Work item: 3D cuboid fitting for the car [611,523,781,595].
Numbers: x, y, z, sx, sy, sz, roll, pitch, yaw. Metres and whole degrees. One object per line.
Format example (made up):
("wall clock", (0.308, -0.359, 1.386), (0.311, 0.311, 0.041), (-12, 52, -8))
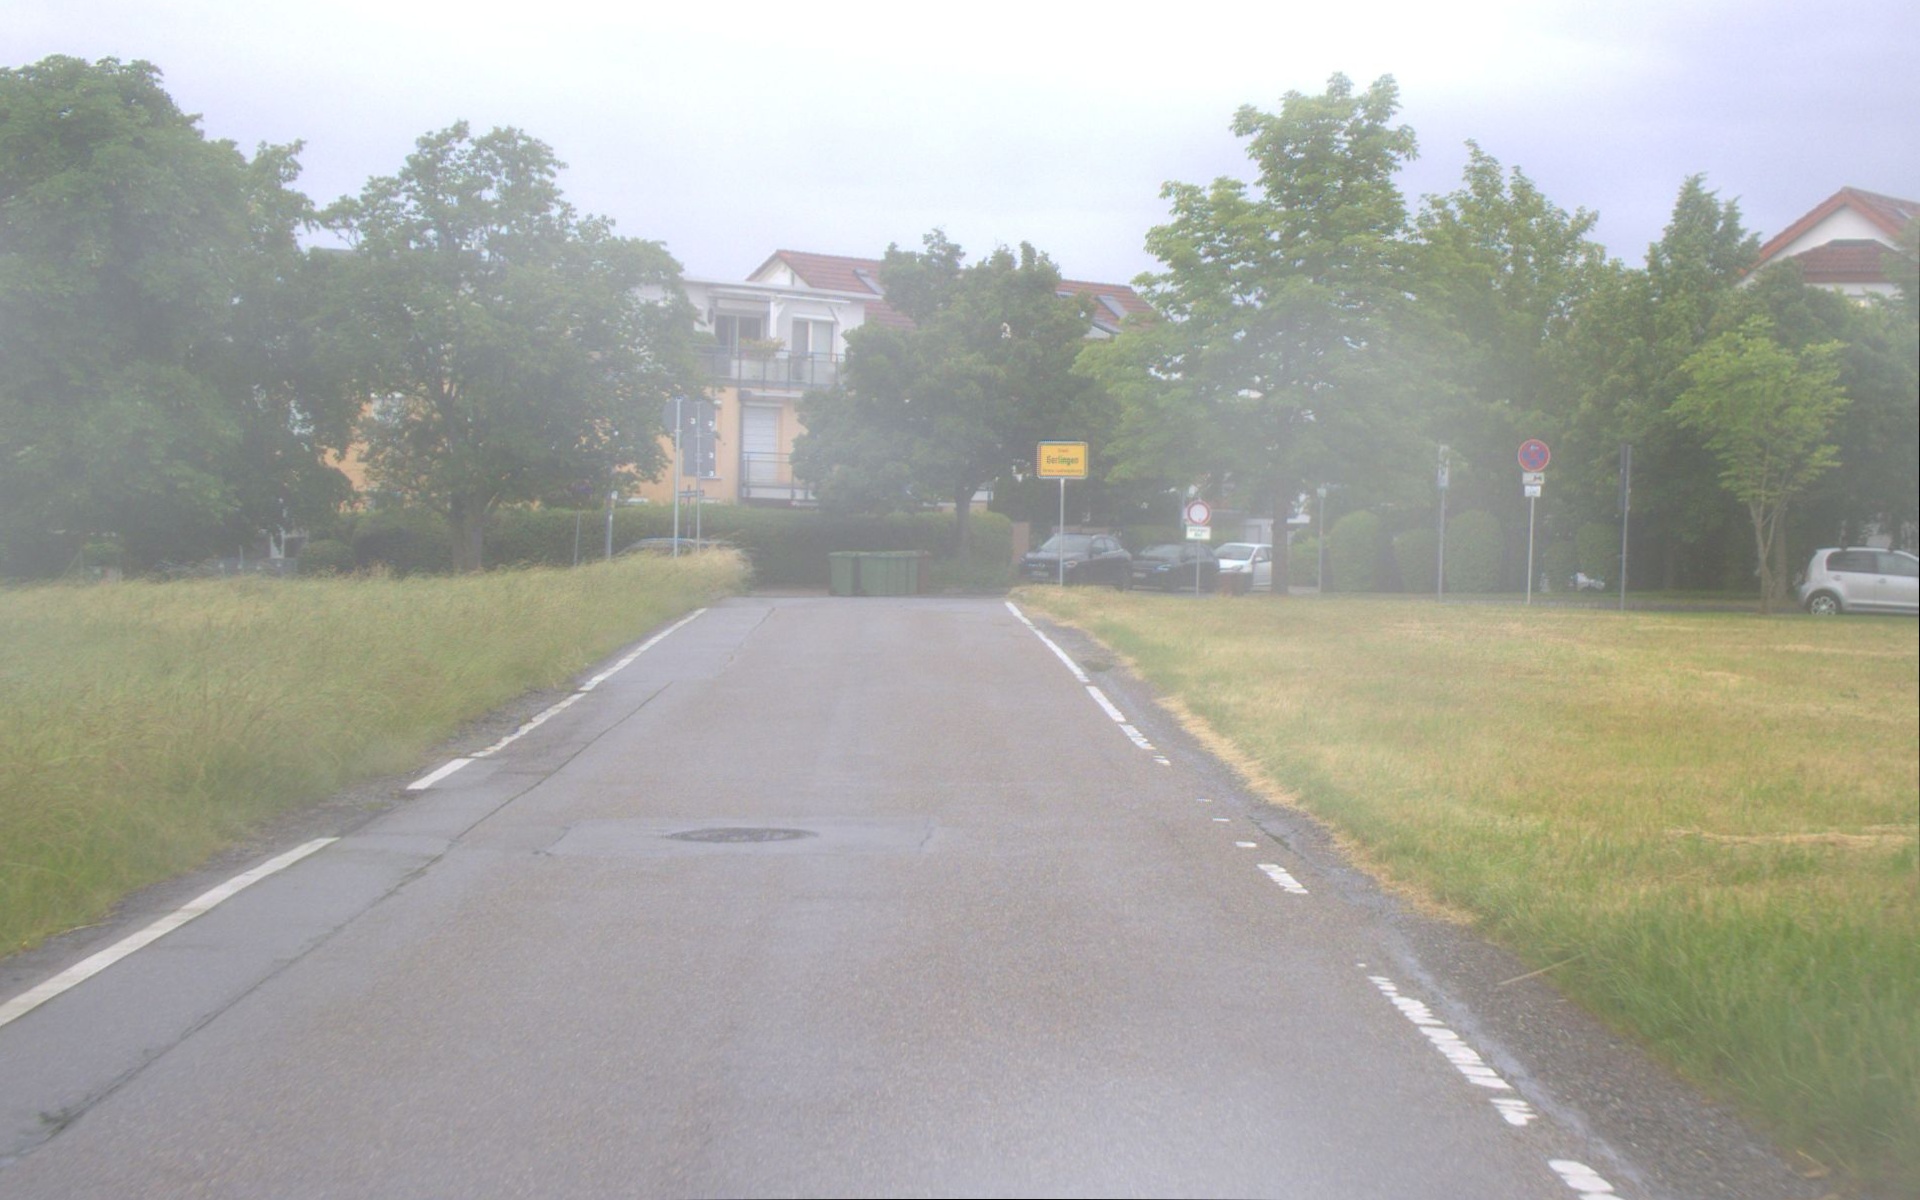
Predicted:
("car", (-5.858, -0.908, 76.126), (3.694, 1.547, 1.687), (1, 0, 43))

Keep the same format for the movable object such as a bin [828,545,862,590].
("movable object such as a bin", (-2.797, -0.798, 83.633), (0.666, 1.070, 0.543), (1, 1, 21))

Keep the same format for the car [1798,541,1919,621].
("car", (17.892, -0.353, 65.688), (3.546, 1.474, 1.678), (1, 0, 17))

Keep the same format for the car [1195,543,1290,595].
("car", (8.579, -0.928, 104.157), (1.513, 1.471, 3.268), (4, 2, 31))

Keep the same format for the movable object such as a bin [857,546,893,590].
("movable object such as a bin", (-2.050, -0.781, 83.388), (0.695, 1.071, 0.601), (1, 1, 20))

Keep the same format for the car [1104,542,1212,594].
("car", (5.774, -0.924, 99.788), (1.638, 1.404, 3.599), (4, 2, 29))

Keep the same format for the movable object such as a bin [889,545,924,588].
("movable object such as a bin", (-1.317, -0.821, 85.140), (0.695, 1.051, 0.605), (1, 1, 20))

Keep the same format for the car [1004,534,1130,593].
("car", (2.963, -0.994, 94.642), (1.778, 1.513, 4.131), (4, 2, 28))

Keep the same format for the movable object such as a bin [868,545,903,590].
("movable object such as a bin", (-1.810, -0.796, 83.976), (0.695, 1.071, 0.543), (1, 1, 20))

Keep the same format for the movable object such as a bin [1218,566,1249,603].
("movable object such as a bin", (6.942, -0.393, 87.166), (0.571, 0.928, 0.529), (2, 1, 33))
